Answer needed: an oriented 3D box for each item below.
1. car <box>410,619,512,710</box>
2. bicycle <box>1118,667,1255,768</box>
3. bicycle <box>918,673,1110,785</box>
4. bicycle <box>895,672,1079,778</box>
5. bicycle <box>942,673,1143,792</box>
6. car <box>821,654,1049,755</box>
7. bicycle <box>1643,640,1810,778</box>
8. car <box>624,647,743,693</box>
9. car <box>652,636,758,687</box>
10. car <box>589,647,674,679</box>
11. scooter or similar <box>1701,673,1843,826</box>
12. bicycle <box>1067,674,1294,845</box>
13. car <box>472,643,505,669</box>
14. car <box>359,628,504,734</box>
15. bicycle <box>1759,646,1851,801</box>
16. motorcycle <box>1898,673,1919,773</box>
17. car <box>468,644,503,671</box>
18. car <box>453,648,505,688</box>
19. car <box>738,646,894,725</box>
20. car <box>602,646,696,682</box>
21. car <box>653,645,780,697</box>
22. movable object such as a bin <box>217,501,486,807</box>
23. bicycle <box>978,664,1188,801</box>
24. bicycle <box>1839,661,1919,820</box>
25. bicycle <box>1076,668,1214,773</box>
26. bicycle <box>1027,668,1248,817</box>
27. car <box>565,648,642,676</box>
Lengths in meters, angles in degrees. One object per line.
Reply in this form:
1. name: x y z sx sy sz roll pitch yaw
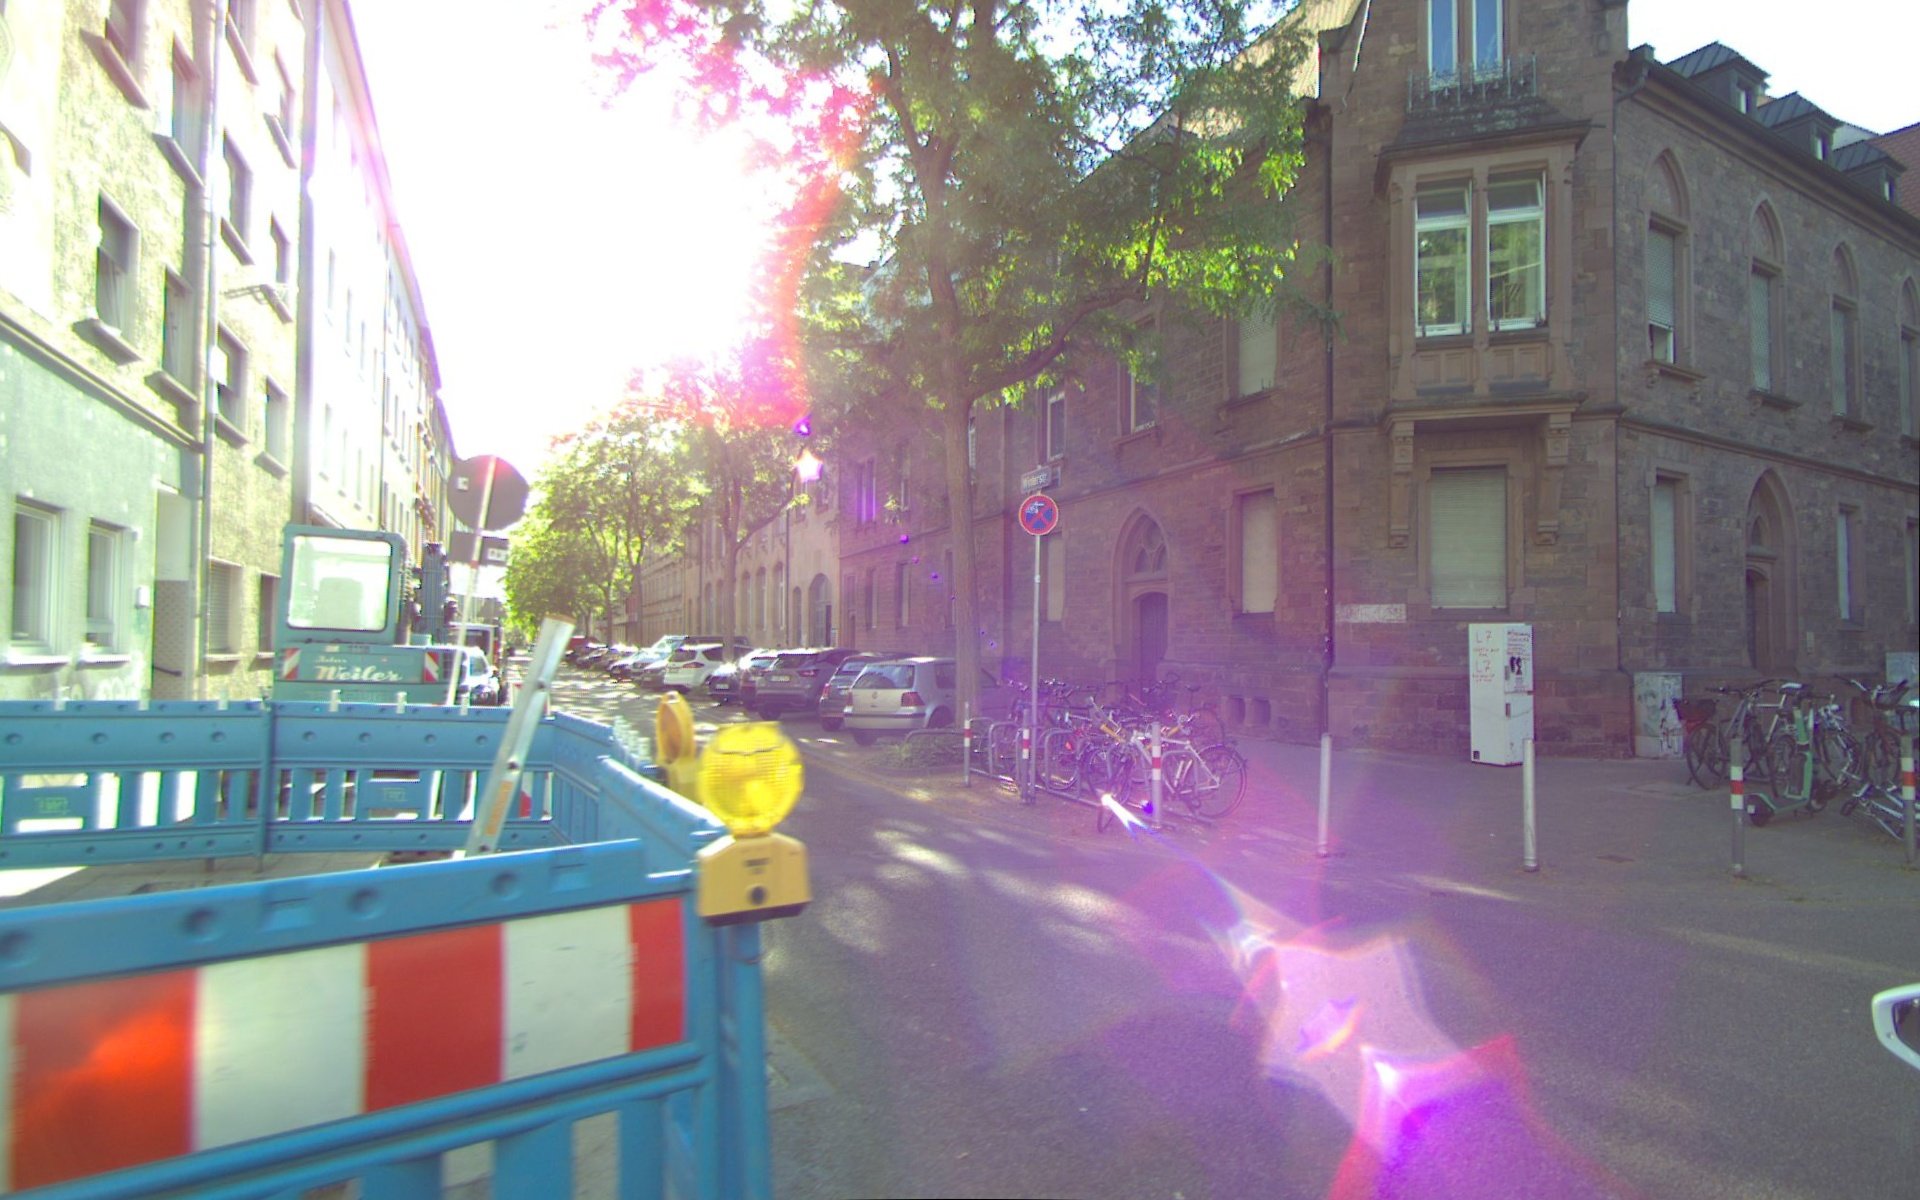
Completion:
1. car: -12.030 1.524 24.350 1.973 1.964 4.584 2 -3 -25
2. bicycle: 3.008 1.531 13.577 0.676 1.195 1.954 0 -2 -28
3. bicycle: 0.703 1.565 12.605 2.415 1.195 0.680 0 -2 -29
4. bicycle: 0.380 1.606 13.240 2.415 1.195 0.680 0 -2 -29
5. bicycle: 1.009 1.528 11.973 2.415 1.195 0.680 0 -2 -29
6. car: -0.293 1.712 17.556 1.830 1.503 4.258 -1 -3 35
7. bicycle: 8.934 1.203 11.654 2.769 1.442 0.678 2 -3 -34
8. car: -10.059 2.520 36.774 1.828 1.588 3.991 -1 -3 32
9. car: -10.273 2.452 40.680 1.828 1.928 3.991 -1 -3 32
10. car: -17.161 3.288 52.685 1.828 1.588 3.991 -1 -3 32
11. scooter or similar: 7.459 1.333 9.220 1.284 1.294 0.527 2 -3 -27
12. bicycle: 2.059 1.399 9.255 2.117 1.338 0.680 0 -2 -30
13. car: -30.388 3.585 64.819 1.775 1.644 3.977 1 -3 -24
14. car: -8.991 1.347 17.402 1.883 1.587 4.179 4 -4 -24
15. bicycle: 8.903 1.217 10.549 0.567 1.442 2.488 -2 -3 44
16. motorcycle: 11.911 1.480 11.578 0.653 1.223 2.312 0 -3 18
17. car: -28.415 3.428 60.225 1.775 1.511 3.977 1 -3 -24
18. car: -19.487 2.713 40.794 1.775 1.511 3.977 1 -3 -24
19. car: -3.176 1.874 23.008 1.824 1.613 4.001 0 -3 20
20. car: -14.597 2.988 47.261 1.828 1.588 3.991 -1 -3 32
21. car: -8.045 2.316 33.508 1.828 1.588 3.991 -1 -3 32
22. movable object such as a bin: -6.035 0.535 10.348 2.042 2.635 2.744 1 -3 -26
23. bicycle: 1.423 1.441 11.378 2.415 1.338 0.680 0 -2 -30
24. bicycle: 9.112 1.290 9.804 0.675 1.362 2.488 -2 -3 44
25. bicycle: 2.380 1.528 13.185 0.677 1.195 1.954 0 -2 -29
26. bicycle: 1.905 1.433 10.600 2.415 1.338 0.680 0 -2 -30
27. car: -20.991 3.617 59.308 1.828 1.588 3.991 -1 -3 32
